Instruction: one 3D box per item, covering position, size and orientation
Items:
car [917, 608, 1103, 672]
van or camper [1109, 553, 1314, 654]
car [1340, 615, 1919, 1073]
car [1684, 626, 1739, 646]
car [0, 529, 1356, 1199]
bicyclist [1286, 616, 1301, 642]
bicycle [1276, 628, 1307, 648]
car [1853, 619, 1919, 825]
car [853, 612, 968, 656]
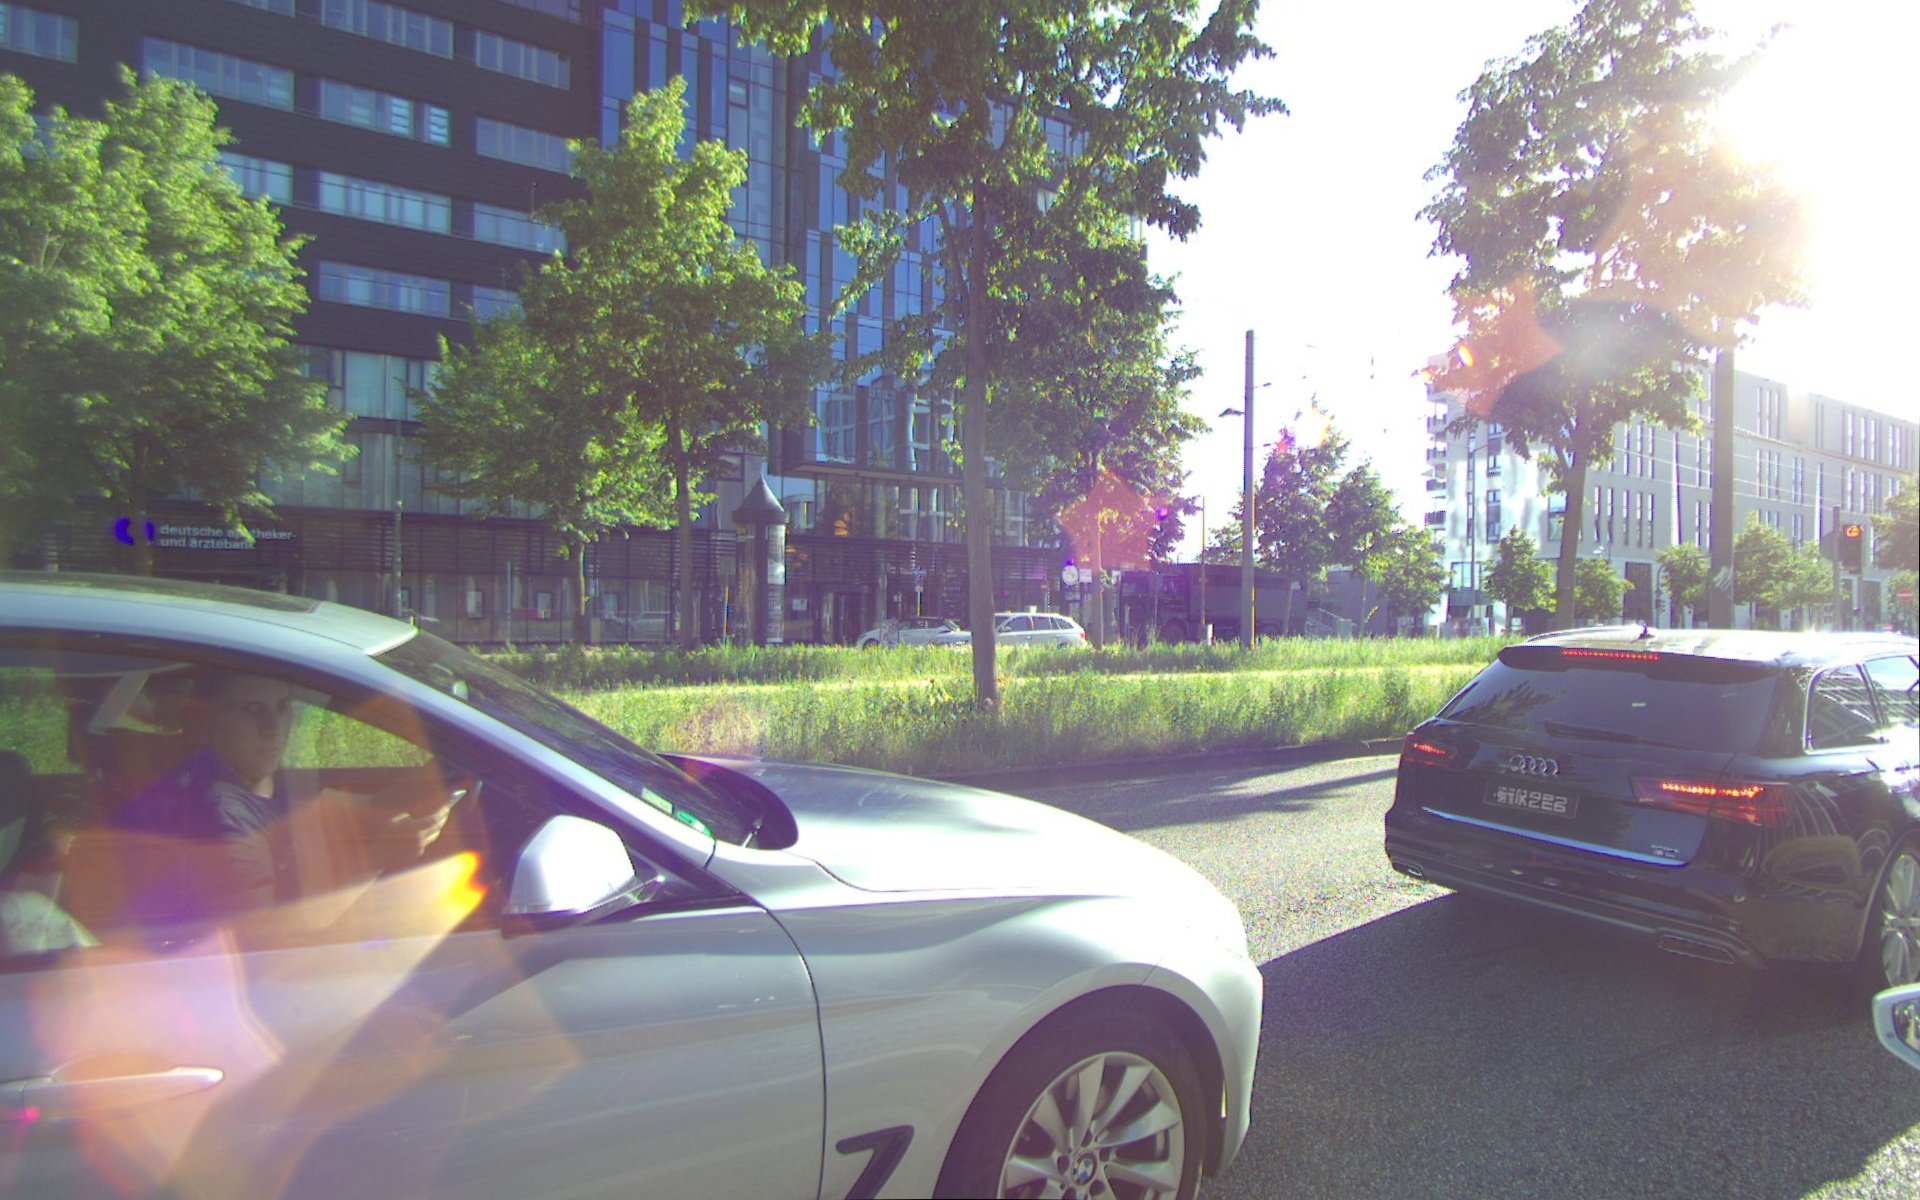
[{"bbox_3d":[1.350,1.029,26.475,4.680,1.558,1.845,1,-1,-30],"label":"car"},{"bbox_3d":[11.721,0.271,46.323,10.109,4.248,2.740,2,-1,-30],"label":"van or camper"},{"bbox_3d":[4.199,0.851,5.205,4.455,1.476,1.799,1,-1,-31],"label":"car"},{"bbox_3d":[52.471,2.529,70.123,4.420,1.360,1.572,2,-1,-31],"label":"car"},{"bbox_3d":[-1.514,0.677,1.949,4.689,1.508,1.799,1,-1,-31],"label":"car"},{"bbox_3d":[18.832,1.646,56.741,0.619,1.425,0.490,2,0,-30],"label":"bicyclist"},{"bbox_3d":[18.693,2.148,56.634,1.826,1.047,0.525,2,0,-31],"label":"bicycle"},{"bbox_3d":[9.246,0.962,8.149,4.063,1.548,1.800,1,-1,-30],"label":"car"},{"bbox_3d":[-1.839,1.259,37.456,3.919,1.525,1.759,1,-1,15],"label":"car"}]
